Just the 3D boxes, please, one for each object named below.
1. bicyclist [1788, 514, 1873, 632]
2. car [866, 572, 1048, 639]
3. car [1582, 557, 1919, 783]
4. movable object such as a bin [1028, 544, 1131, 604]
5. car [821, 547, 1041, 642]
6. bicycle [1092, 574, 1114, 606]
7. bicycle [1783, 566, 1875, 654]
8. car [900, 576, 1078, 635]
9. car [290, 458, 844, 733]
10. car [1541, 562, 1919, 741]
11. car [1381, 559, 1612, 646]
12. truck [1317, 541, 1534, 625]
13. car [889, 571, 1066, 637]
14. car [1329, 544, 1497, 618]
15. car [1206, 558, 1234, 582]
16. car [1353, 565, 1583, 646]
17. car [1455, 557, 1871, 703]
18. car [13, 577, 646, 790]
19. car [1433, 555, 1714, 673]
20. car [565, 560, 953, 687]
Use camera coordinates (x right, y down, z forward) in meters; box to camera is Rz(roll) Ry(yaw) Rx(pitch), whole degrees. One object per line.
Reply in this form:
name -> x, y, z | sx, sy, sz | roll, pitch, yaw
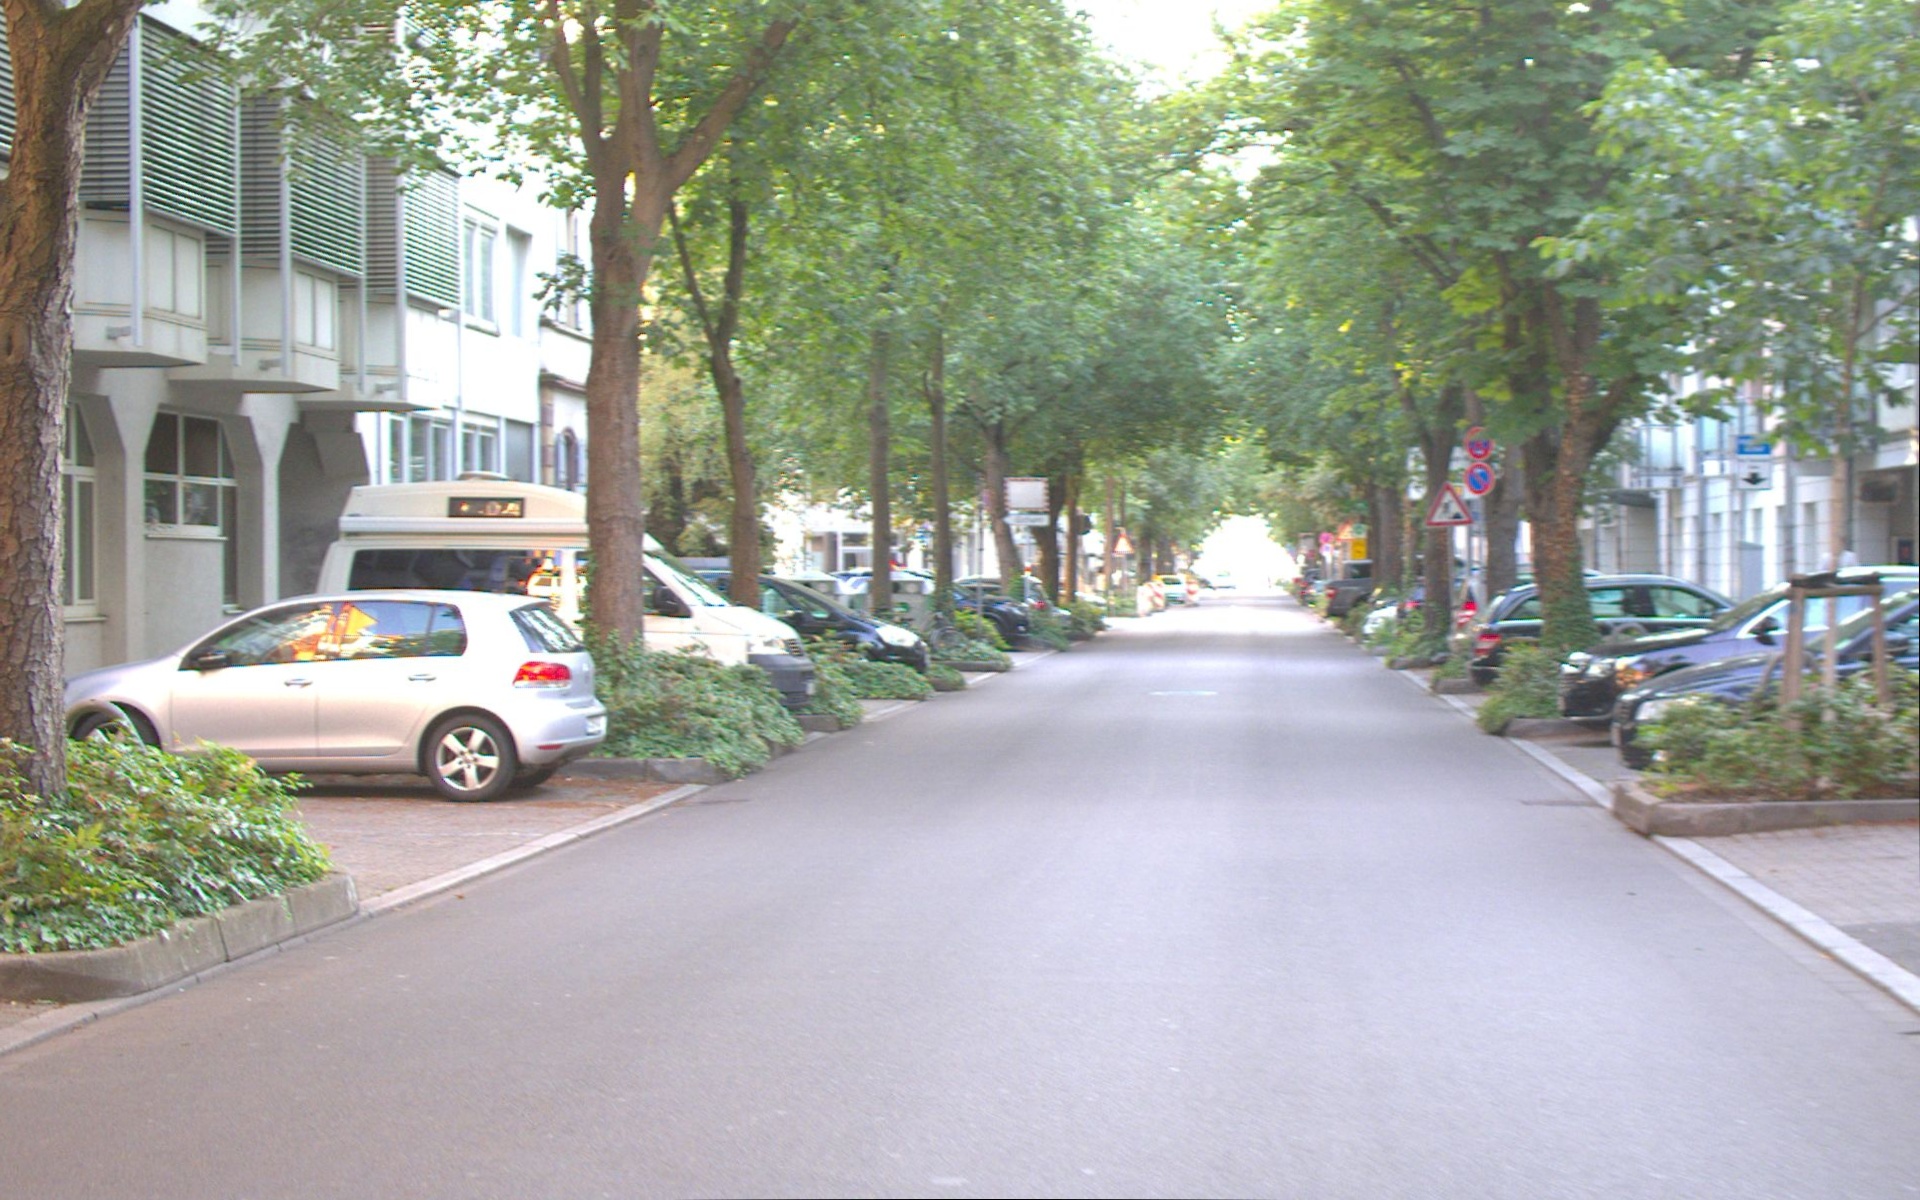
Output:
bicyclist -> 11.969, -0.379, 47.291 | 0.970, 1.599, 1.136 | 0, 1, 6
car -> -0.046, 0.114, 77.732 | 3.987, 1.459, 1.922 | 0, 0, 4
car -> 6.838, 0.418, 23.806 | 4.841, 1.443, 2.041 | -2, 0, 7
movable object such as a bin -> 4.814, -1.066, 138.940 | 4.046, 2.375, 2.784 | 0, 1, 0
car -> -0.582, -0.125, 72.537 | 4.505, 1.949, 2.000 | 0, 0, 4
bicycle -> 5.165, -0.369, 124.318 | 0.683, 1.149, 1.981 | 0, 1, 0
bicycle -> 11.849, 0.122, 46.959 | 0.620, 1.160, 3.401 | 0, 0, 4
car -> 0.745, 0.125, 85.366 | 4.288, 1.425, 1.879 | 0, 0, 5
car -> -3.736, -0.063, 33.286 | 5.004, 2.564, 2.120 | 0, 1, 5
car -> 7.562, 0.405, 30.232 | 4.679, 1.383, 2.000 | -3, 0, 7
car -> 10.305, 0.045, 66.224 | 4.083, 1.446, 1.935 | -3, 0, 0
truck -> 12.876, -0.479, 95.341 | 5.889, 2.303, 2.212 | 0, 0, 6
car -> 0.433, 0.083, 82.756 | 3.988, 1.560, 1.928 | 0, 0, 10
car -> 12.895, -0.535, 98.093 | 4.601, 2.059, 2.197 | 0, 1, 4
car -> 19.296, -2.225, 255.507 | 2.010, 1.607, 4.119 | 1, 2, 3
car -> 10.630, 0.111, 72.242 | 4.600, 1.463, 1.796 | -3, 0, 4
car -> 7.930, 0.329, 39.083 | 4.460, 1.422, 2.010 | -3, 0, 10
car -> -4.530, 0.573, 25.094 | 4.169, 1.463, 1.952 | 0, 1, 6
car -> 9.267, 0.200, 52.212 | 3.970, 1.580, 1.916 | -3, 0, 5
car -> -2.625, 0.292, 45.652 | 4.854, 1.616, 2.160 | 0, 0, 6
